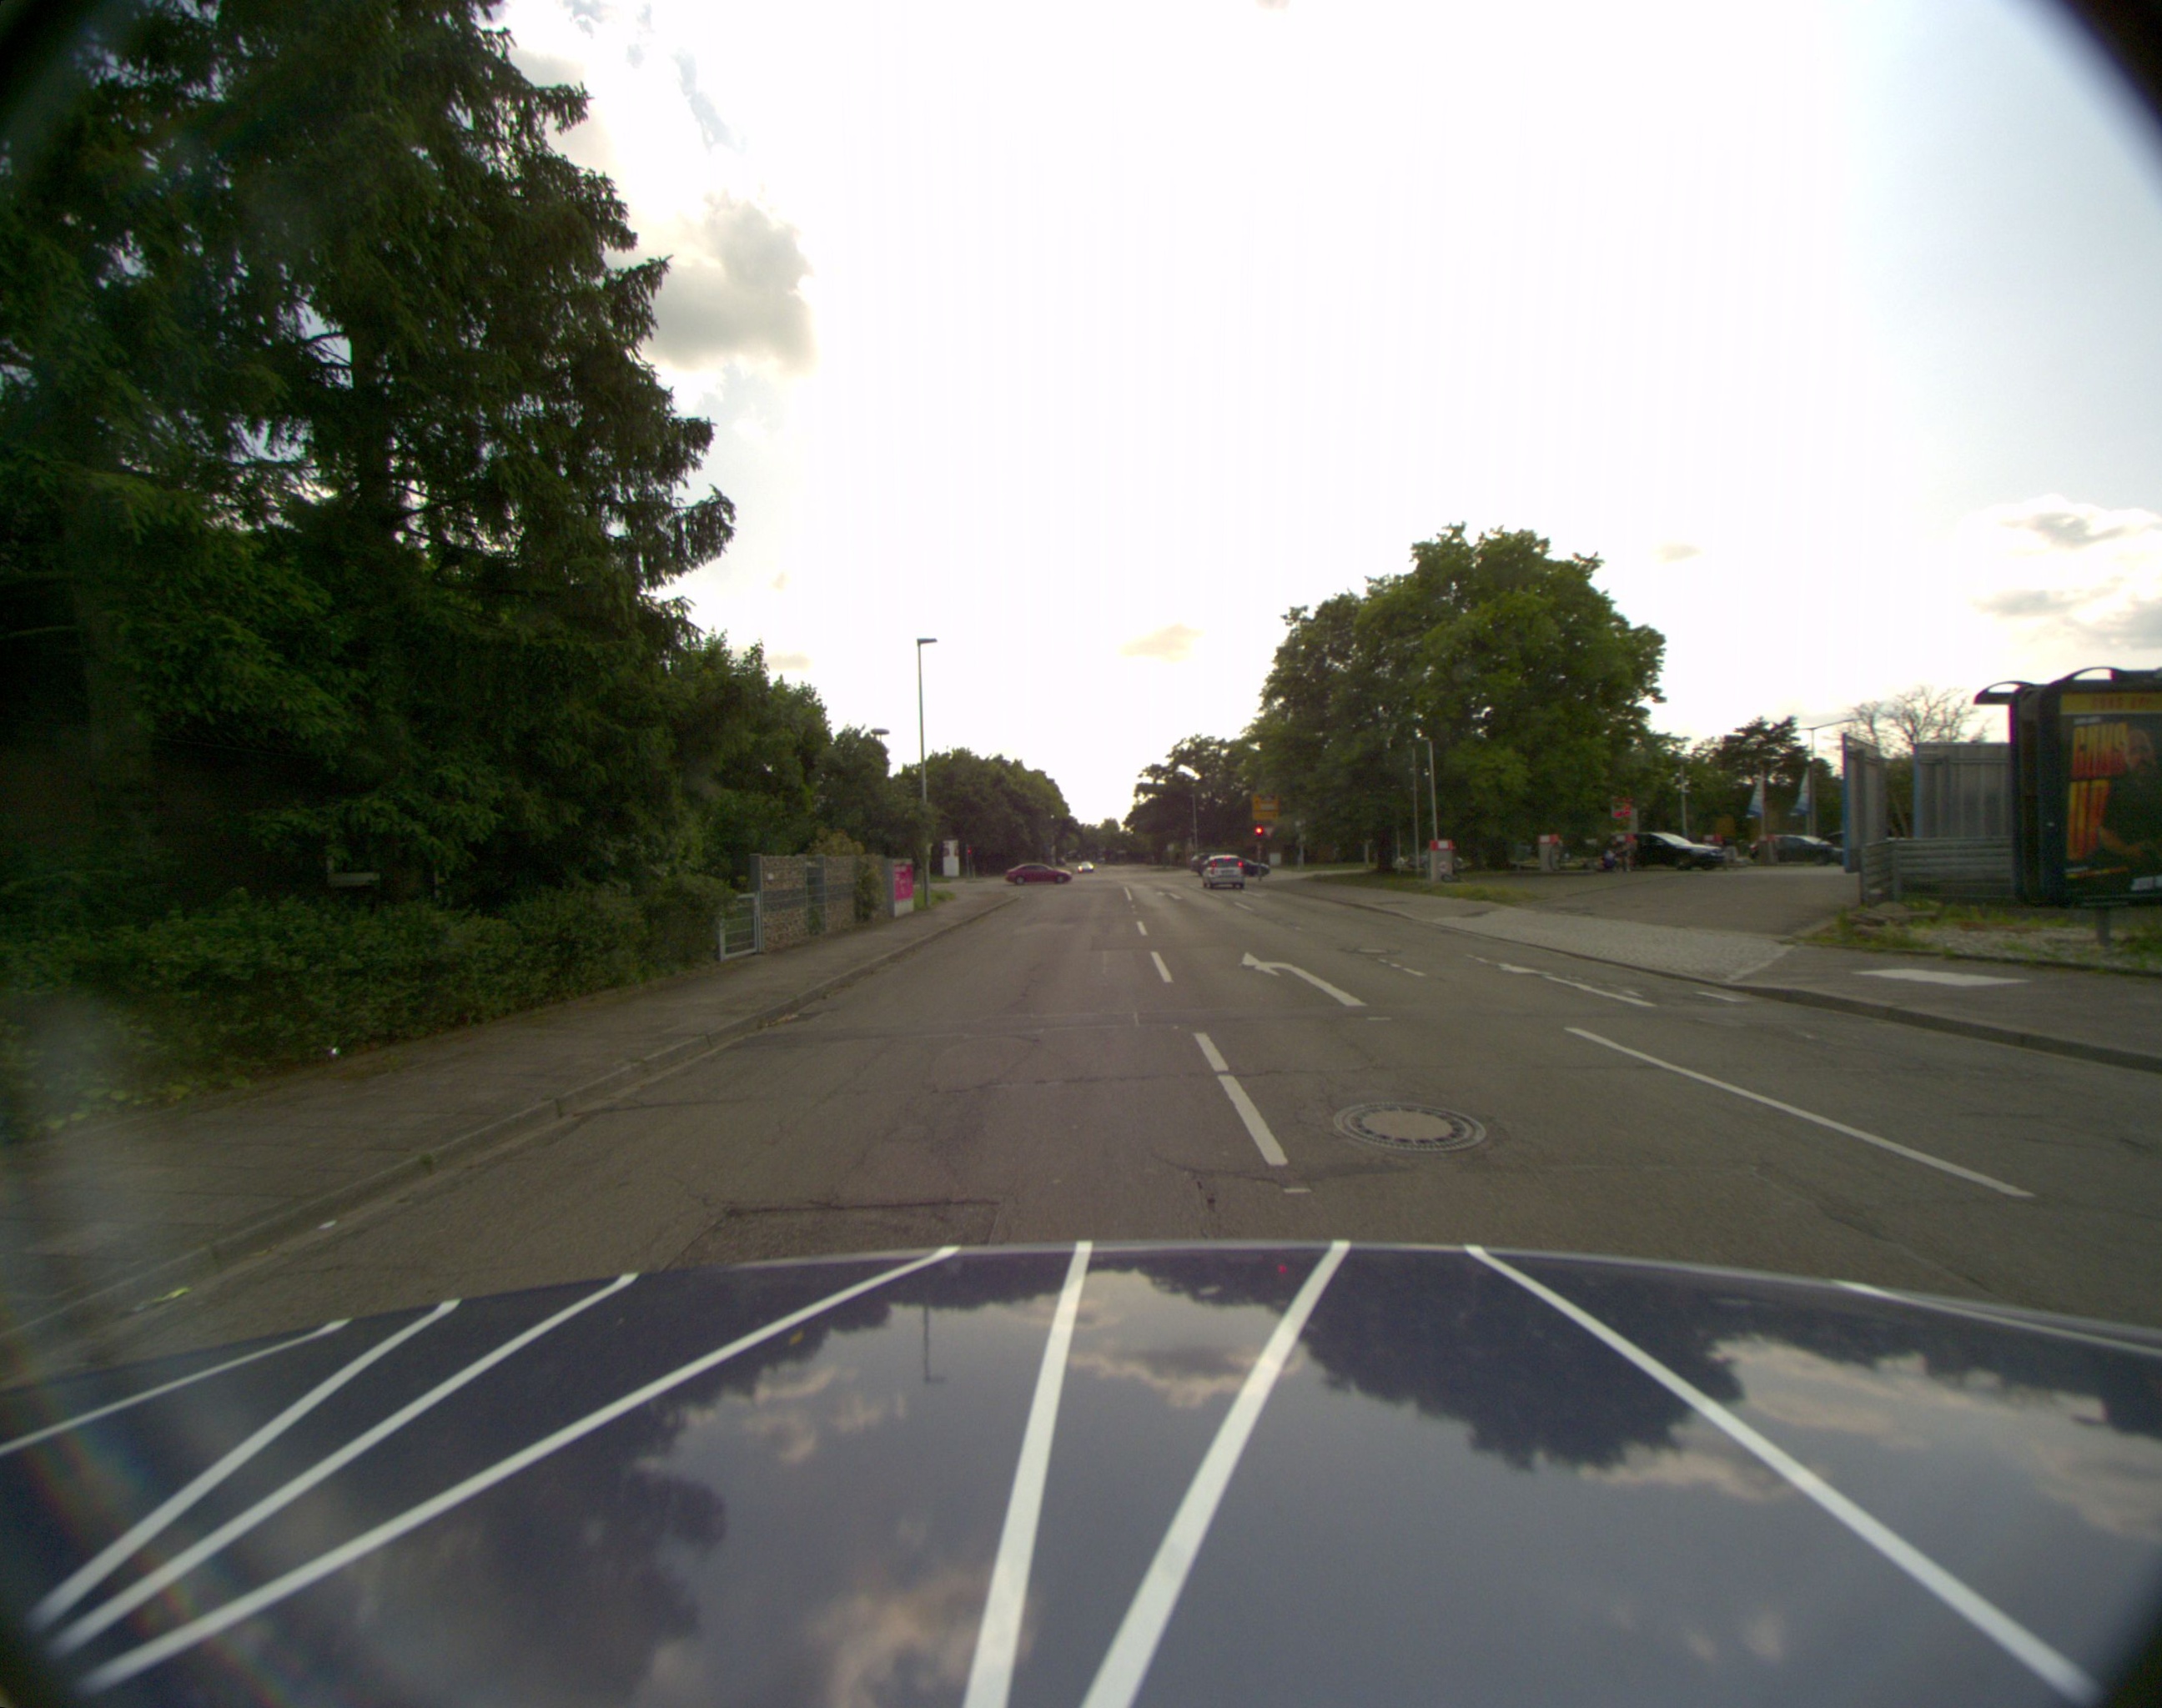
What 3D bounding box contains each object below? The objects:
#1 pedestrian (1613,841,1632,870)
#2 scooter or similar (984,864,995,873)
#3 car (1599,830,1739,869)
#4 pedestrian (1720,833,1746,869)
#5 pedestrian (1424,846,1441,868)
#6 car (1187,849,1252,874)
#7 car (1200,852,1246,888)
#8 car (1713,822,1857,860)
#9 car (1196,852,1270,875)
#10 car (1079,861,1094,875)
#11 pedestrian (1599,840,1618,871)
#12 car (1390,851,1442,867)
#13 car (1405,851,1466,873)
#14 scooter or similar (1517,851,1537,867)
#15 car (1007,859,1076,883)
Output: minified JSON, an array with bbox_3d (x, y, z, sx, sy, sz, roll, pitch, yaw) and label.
[{"bbox_3d":[22.798,0.047,32.004,0.643,1.183,0.767,1,3,36],"label":"pedestrian"},{"bbox_3d":[-9.613,1.503,79.798,1.036,0.937,0.296,-1,2,-4],"label":"scooter or similar"},{"bbox_3d":[26.394,-0.172,34.315,2.156,1.586,4.556,-2,0,-21],"label":"car"},{"bbox_3d":[27.685,-0.143,32.266,0.620,1.487,0.561,-1,3,-18],"label":"pedestrian"},{"bbox_3d":[24.838,0.226,53.733,0.760,1.523,0.726,-2,0,-26],"label":"pedestrian"},{"bbox_3d":[10.628,0.549,58.287,4.550,1.736,1.816,-1,1,-11],"label":"car"},{"bbox_3d":[6.569,0.709,35.459,1.558,1.508,3.609,-2,0,3],"label":"car"},{"bbox_3d":[37.376,-0.660,40.536,2.156,1.816,5.189,-2,0,-21],"label":"car"},{"bbox_3d":[10.979,0.689,54.948,4.874,1.488,1.800,-1,2,-11],"label":"car"},{"bbox_3d":[0.658,1.703,93.797,1.730,1.421,3.998,-1,2,0],"label":"car"},{"bbox_3d":[21.960,0.037,31.634,0.643,1.248,0.767,1,3,36],"label":"pedestrian"},{"bbox_3d":[33.060,0.502,75.065,4.536,1.454,1.727,-2,0,-11],"label":"car"},{"bbox_3d":[28.672,0.597,61.490,4.360,1.610,1.702,-2,1,-11],"label":"car"},{"bbox_3d":[29.576,0.335,50.373,1.272,0.974,0.221,-2,0,-10],"label":"scooter or similar"},{"bbox_3d":[-2.740,1.135,52.041,4.536,1.454,1.726,-1,2,-11],"label":"car"}]
